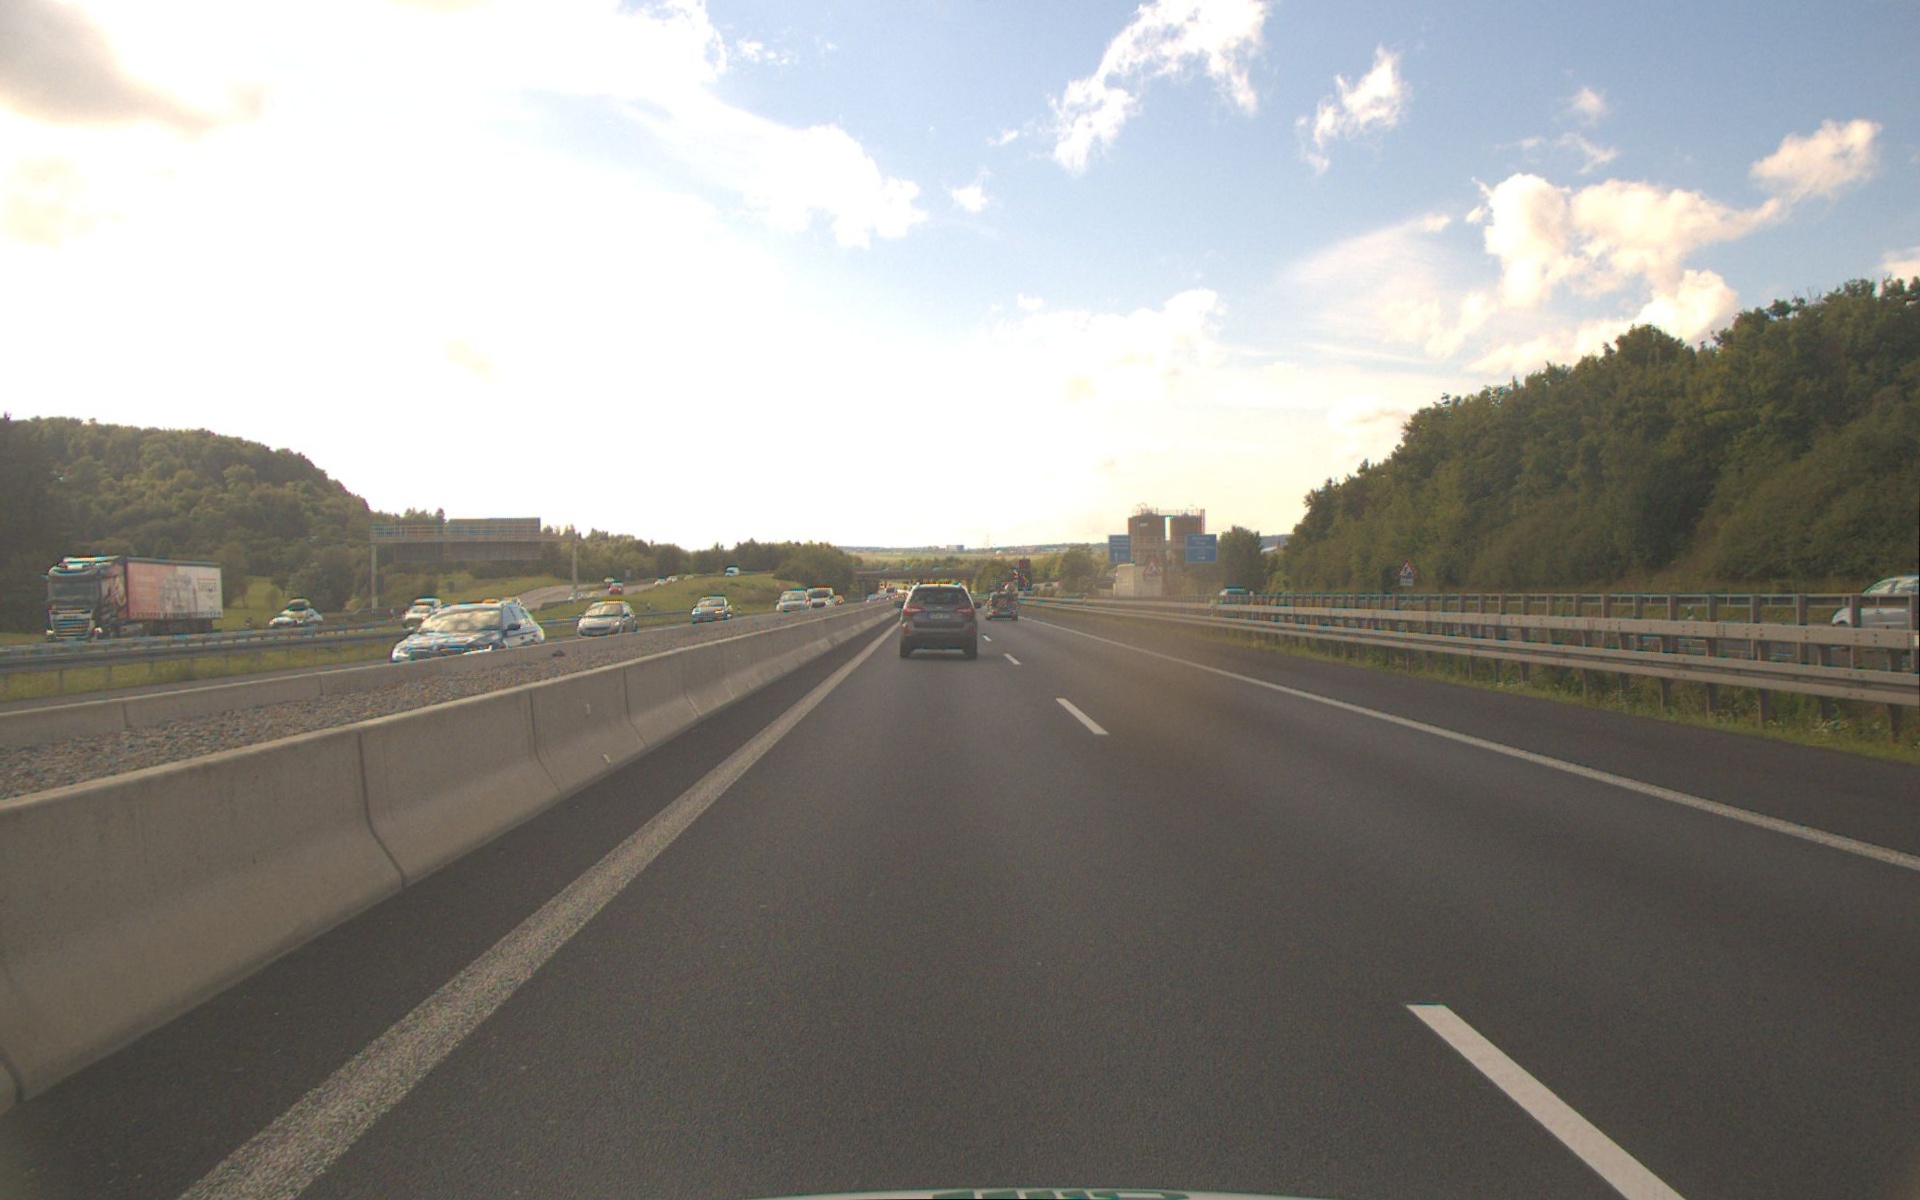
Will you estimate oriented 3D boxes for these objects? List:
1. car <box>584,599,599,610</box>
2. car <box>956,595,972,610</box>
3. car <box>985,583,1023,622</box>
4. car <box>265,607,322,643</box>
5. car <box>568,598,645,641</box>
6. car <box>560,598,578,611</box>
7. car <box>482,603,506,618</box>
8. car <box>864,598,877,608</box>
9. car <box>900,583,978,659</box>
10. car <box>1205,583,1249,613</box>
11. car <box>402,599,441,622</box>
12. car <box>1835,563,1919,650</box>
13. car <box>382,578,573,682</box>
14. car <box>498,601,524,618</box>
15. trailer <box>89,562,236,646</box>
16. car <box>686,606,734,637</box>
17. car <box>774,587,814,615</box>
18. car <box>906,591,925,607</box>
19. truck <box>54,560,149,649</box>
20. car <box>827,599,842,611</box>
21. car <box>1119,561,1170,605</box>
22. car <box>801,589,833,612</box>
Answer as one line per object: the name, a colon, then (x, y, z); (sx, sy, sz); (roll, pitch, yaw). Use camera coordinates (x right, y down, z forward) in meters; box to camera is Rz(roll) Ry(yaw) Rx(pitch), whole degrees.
car: (-50.515, 0.670, 226.860); (1.740, 1.425, 4.389); (-2, 0, -9)
car: (0.476, 0.333, 209.212); (1.935, 1.810, 4.119); (-2, 0, -1)
car: (2.497, 0.126, 94.717); (1.953, 2.117, 3.999); (-2, 0, -1)
car: (-37.225, 1.364, 92.424); (1.738, 1.930, 4.393); (-2, 0, -6)
car: (-13.039, 0.706, 61.266); (1.953, 1.481, 4.180); (-2, 0, -1)
car: (-46.959, 0.565, 198.645); (1.740, 1.425, 4.389); (-2, 0, -9)
car: (-45.601, 1.019, 161.836); (1.740, 1.425, 4.389); (-2, 0, -9)
car: (-12.296, 0.411, 227.037); (1.608, 1.422, 3.740); (-2, 0, -1)
car: (-0.465, 0.475, 39.555); (1.714, 1.659, 3.609); (-2, 0, 0)
car: (16.656, -0.106, 103.379); (1.953, 1.747, 3.999); (-2, 0, -1)
car: (-35.945, 0.715, 110.461); (1.740, 1.425, 4.389); (-2, 0, -9)
car: (19.962, 0.092, 33.816); (1.953, 1.738, 3.999); (-2, 0, -1)
car: (-8.563, 0.491, 29.889); (1.888, 1.646, 5.417); (-2, 0, -1)
car: (-40.561, 0.846, 149.559); (1.740, 1.425, 4.389); (-2, 0, -9)
trailer: (-39.678, 0.208, 82.898); (1.955, 3.802, 13.231); (-2, 0, -5)
car: (-13.592, 1.148, 90.020); (1.953, 1.559, 4.506); (-2, 0, -1)
car: (-9.880, 0.049, 98.577); (1.953, 1.559, 5.020); (-2, 0, -1)
car: (-5.503, -0.109, 203.022); (2.124, 1.875, 4.000); (-2, 0, 0)
truck: (-39.022, 0.195, 75.336); (1.955, 3.827, 5.144); (-2, 0, -5)
car: (-16.595, 0.643, 218.731); (1.692, 1.422, 4.157); (-2, 0, -1)
car: (16.723, -1.488, 150.506); (3.504, 3.741, 7.547); (-2, 0, -1)
car: (-10.358, 0.055, 120.220); (1.953, 1.559, 5.746); (-2, 0, -1)
